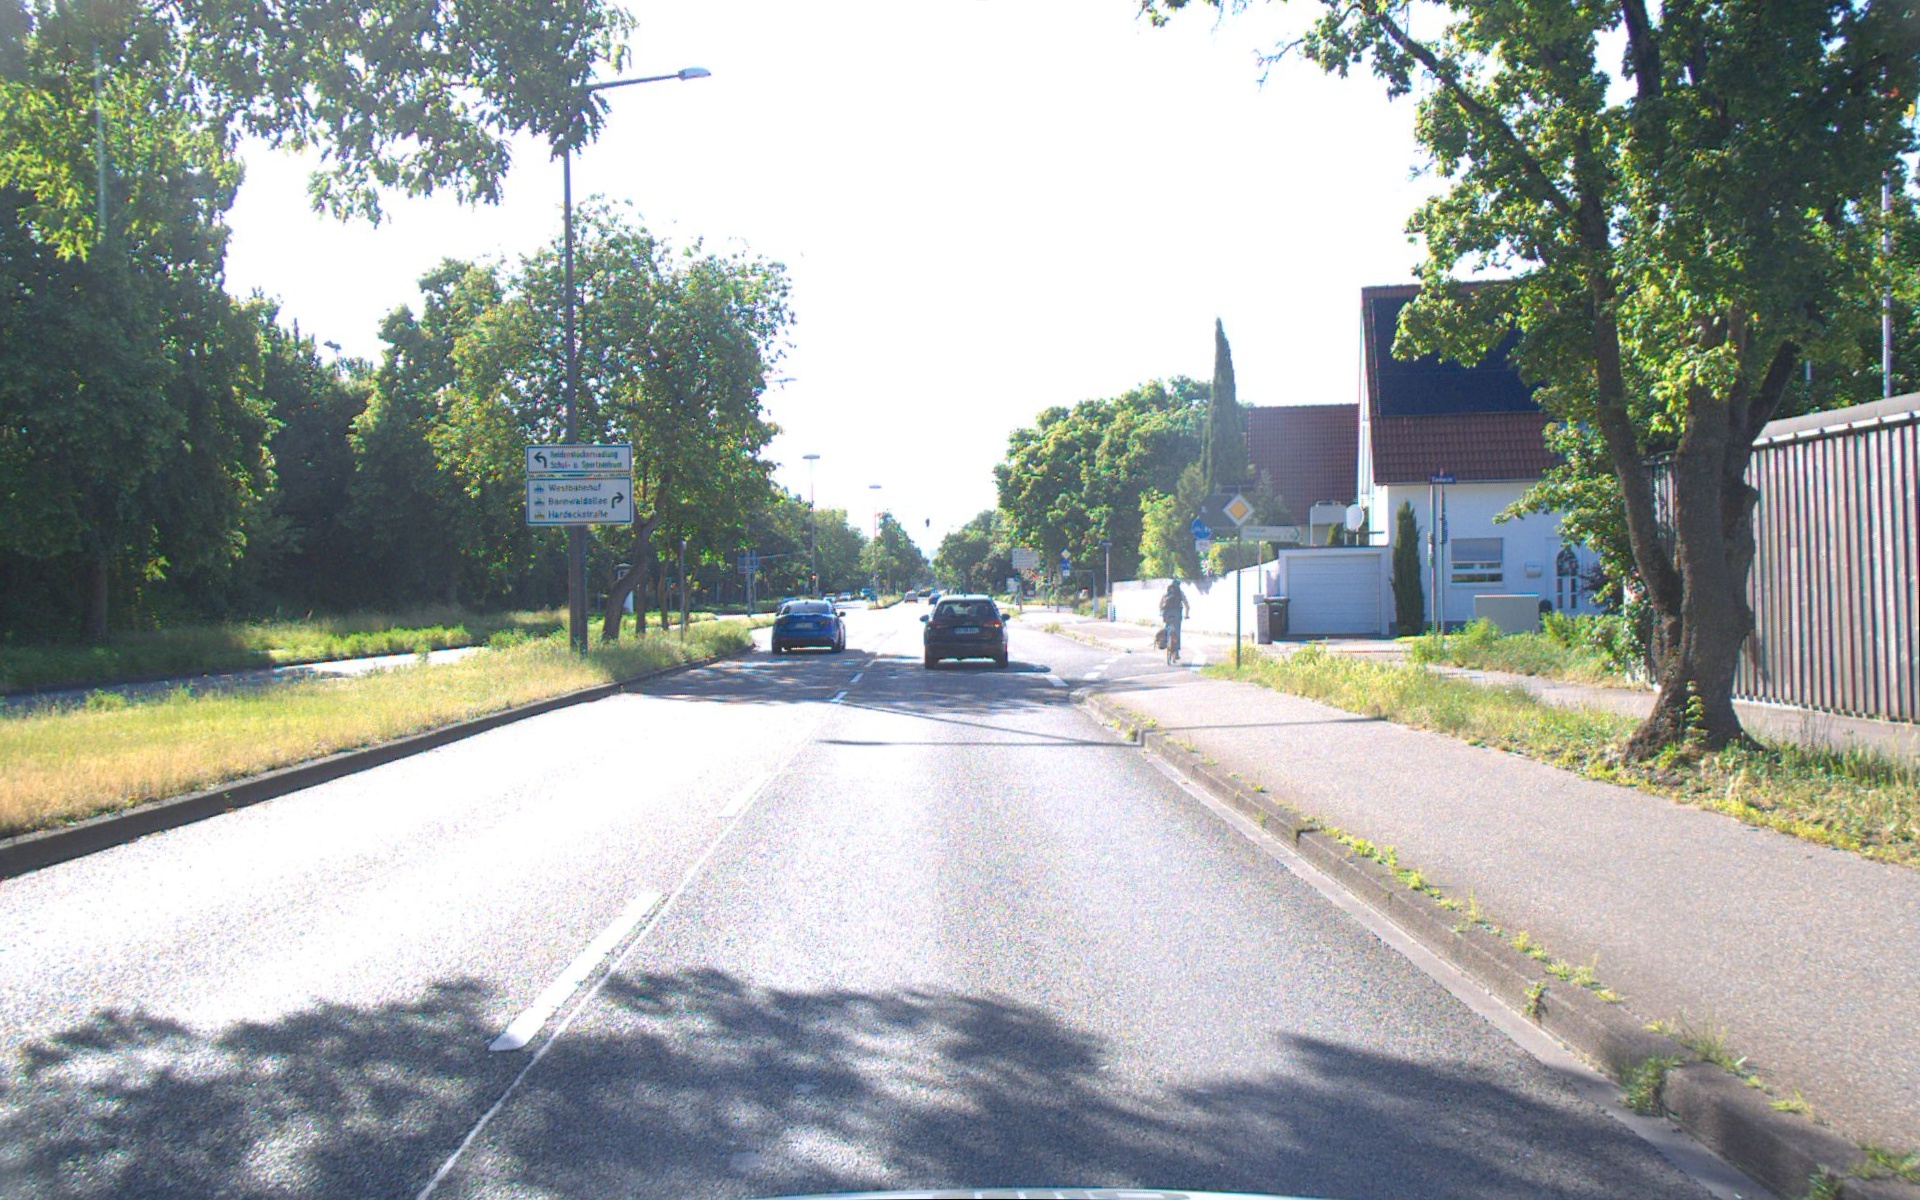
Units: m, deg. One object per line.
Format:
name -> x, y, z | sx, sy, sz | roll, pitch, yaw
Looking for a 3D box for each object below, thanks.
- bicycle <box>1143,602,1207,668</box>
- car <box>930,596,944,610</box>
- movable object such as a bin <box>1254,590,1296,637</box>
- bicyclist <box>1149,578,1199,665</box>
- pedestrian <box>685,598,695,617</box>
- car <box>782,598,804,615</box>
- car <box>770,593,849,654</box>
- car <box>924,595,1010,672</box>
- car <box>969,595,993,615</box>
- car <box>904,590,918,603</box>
bicycle -> 4.356, 0.697, 33.383 | 0.562, 1.175, 2.139 | -4, 1, 26
car -> -2.716, 0.408, 196.458 | 1.697, 1.613, 3.839 | 1, 0, 0
movable object such as a bin -> 8.498, 0.362, 44.641 | 0.980, 1.226, 1.063 | -2, -1, 6
bicyclist -> 4.325, 0.427, 33.360 | 0.618, 1.661, 0.981 | -4, 0, 26
pedestrian -> -26.974, 0.770, 165.368 | 0.828, 1.867, 0.550 | 0, 1, 1
car -> -17.300, 0.692, 171.612 | 1.873, 1.733, 4.407 | 1, -1, 0
car -> -4.128, 0.631, 45.806 | 1.850, 1.579, 3.999 | -1, 0, -1
car -> 0.101, 0.689, 34.991 | 1.720, 1.535, 3.807 | 0, 0, -1
car -> 1.612, 0.377, 124.020 | 1.696, 1.485, 3.841 | 0, 0, 2
car -> -6.678, -0.474, 224.694 | 1.788, 1.643, 3.839 | 0, 0, -2
